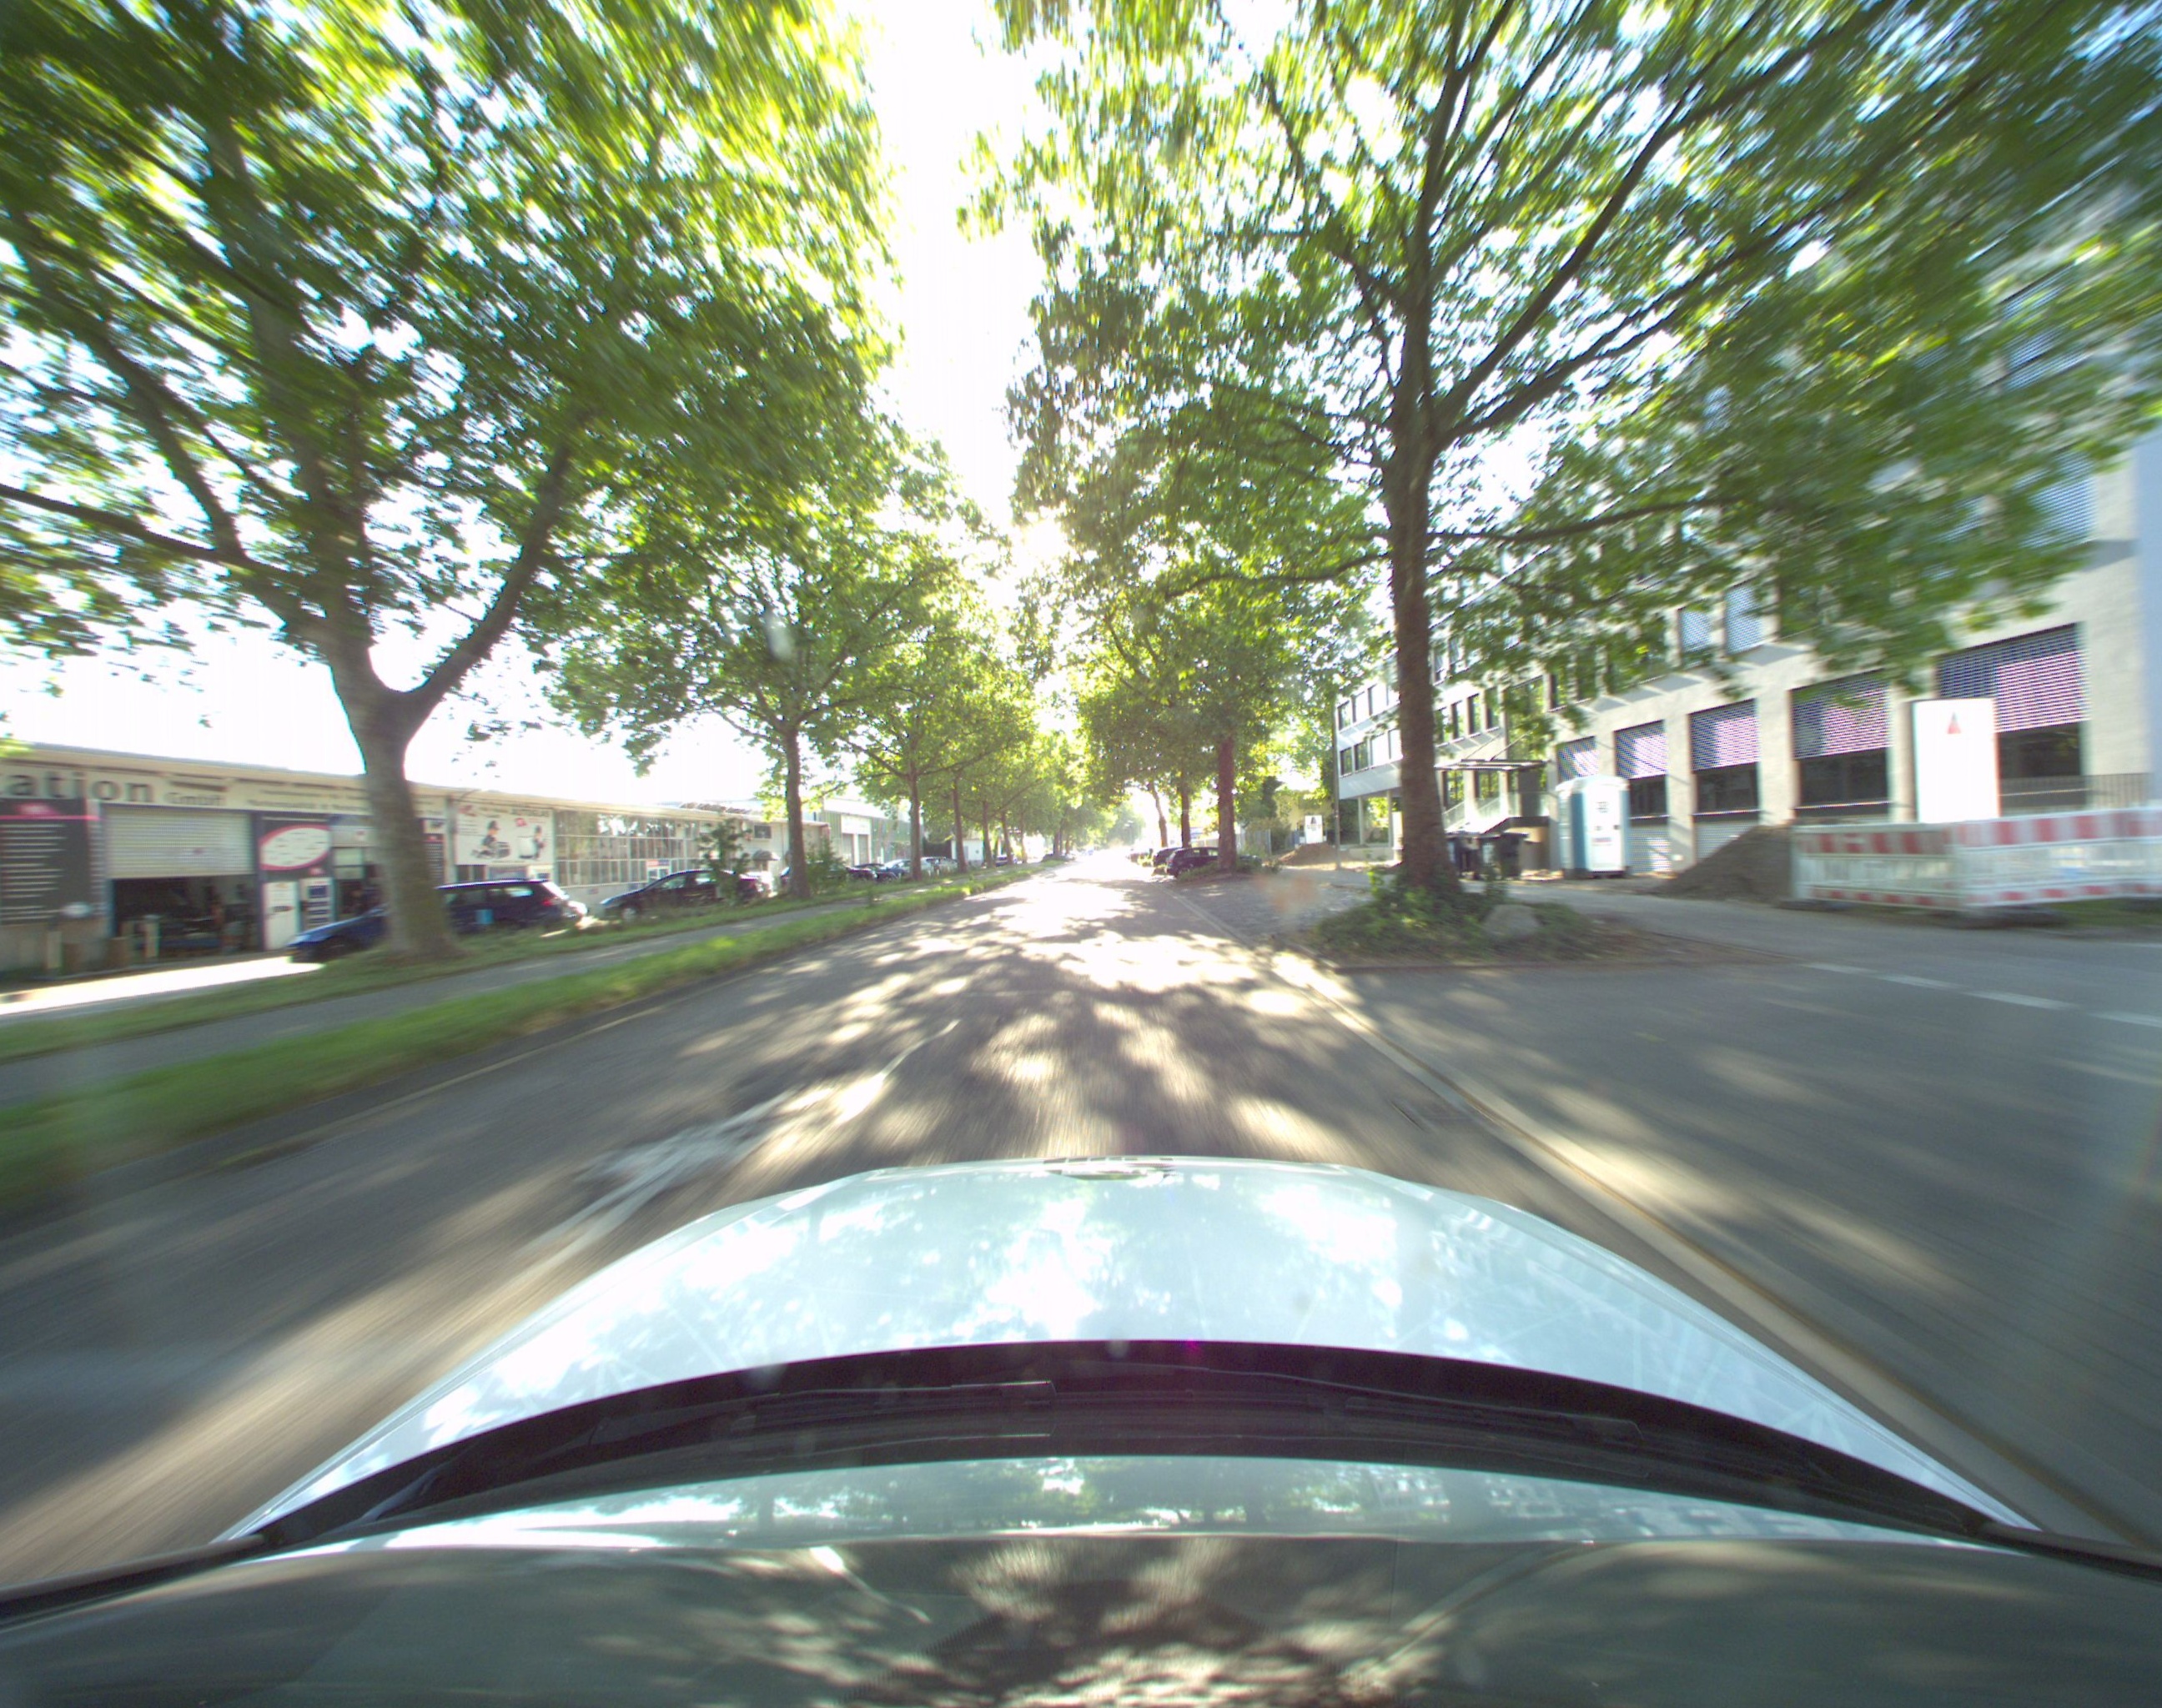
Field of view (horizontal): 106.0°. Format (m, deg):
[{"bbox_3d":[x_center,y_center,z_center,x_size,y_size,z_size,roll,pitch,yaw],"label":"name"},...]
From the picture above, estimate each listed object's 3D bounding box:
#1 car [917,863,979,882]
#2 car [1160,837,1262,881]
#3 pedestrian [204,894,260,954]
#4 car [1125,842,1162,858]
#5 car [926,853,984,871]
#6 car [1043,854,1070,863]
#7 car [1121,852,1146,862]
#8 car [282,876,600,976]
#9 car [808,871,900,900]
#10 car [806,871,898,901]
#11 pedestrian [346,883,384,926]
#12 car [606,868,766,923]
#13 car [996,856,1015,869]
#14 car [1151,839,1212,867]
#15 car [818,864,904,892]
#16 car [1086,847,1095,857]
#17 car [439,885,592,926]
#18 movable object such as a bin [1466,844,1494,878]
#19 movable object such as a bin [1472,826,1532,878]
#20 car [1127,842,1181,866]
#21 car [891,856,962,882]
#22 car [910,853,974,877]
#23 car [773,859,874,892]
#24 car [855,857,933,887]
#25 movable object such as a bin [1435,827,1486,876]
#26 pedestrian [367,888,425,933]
[{"bbox_3d":[-10.779,1.460,66.206,4.508,1.306,1.976,-3,0,-40],"label":"car"},{"bbox_3d":[5.870,0.236,37.158,4.271,1.486,1.860,-6,-1,-1],"label":"car"},{"bbox_3d":[-24.693,2.026,23.697,0.790,1.676,0.770,-1,-1,1],"label":"pedestrian"},{"bbox_3d":[8.353,-0.514,109.314,4.611,1.712,1.999,-5,-1,-1],"label":"car"},{"bbox_3d":[-10.713,0.670,69.525,4.508,1.306,1.976,-3,0,-40],"label":"car"},{"bbox_3d":[-4.328,0.744,142.932,4.584,1.422,2.000,-2,1,0],"label":"car"},{"bbox_3d":[10.097,0.541,156.294,4.582,1.579,2.002,-5,-1,3],"label":"car"},{"bbox_3d":[-13.234,1.419,17.300,4.904,1.760,1.985,-1,-1,-23],"label":"car"},{"bbox_3d":[-12.047,1.650,43.240,4.282,1.382,1.978,-1,-1,-37],"label":"car"},{"bbox_3d":[-12.099,1.648,43.172,4.282,1.452,1.978,-1,-1,-37],"label":"car"},{"bbox_3d":[-25.103,1.773,28.563,0.688,1.472,0.687,-1,-1,9],"label":"pedestrian"},{"bbox_3d":[-12.236,1.242,25.562,4.354,1.530,1.985,-1,-1,-23],"label":"car"},{"bbox_3d":[-9.294,1.040,100.271,1.989,1.369,3.916,-7,0,-3],"label":"car"},{"bbox_3d":[6.765,-0.049,55.194,3.773,1.486,1.860,-5,-1,-1],"label":"car"},{"bbox_3d":[-12.461,1.326,46.273,4.282,1.452,1.978,-1,-1,-37],"label":"car"},{"bbox_3d":[2.592,-0.568,218.102,2.120,2.659,7.004,-3,1,1],"label":"car"},{"bbox_3d":[-20.335,1.826,29.337,4.430,1.321,2.007,0,0,12],"label":"car"},{"bbox_3d":[11.025,0.195,22.509,0.490,0.900,0.599,-1,-1,0],"label":"movable object such as a bin"},{"bbox_3d":[10.810,-0.049,20.961,0.745,1.263,1.612,-1,-1,2],"label":"movable object such as a bin"},{"bbox_3d":[6.655,0.009,74.719,4.558,1.715,1.942,-5,0,-3],"label":"car"},{"bbox_3d":[-10.242,0.967,54.245,1.975,1.629,4.288,-1,-1,44],"label":"car"},{"bbox_3d":[-10.777,0.854,63.361,4.504,1.730,1.978,-1,-1,-36],"label":"car"},{"bbox_3d":[-12.536,1.030,39.701,4.282,1.452,1.978,-1,-1,-37],"label":"car"},{"bbox_3d":[-11.488,1.099,50.266,1.975,1.699,4.288,-1,-1,45],"label":"car"},{"bbox_3d":[11.004,-0.072,23.656,0.745,1.350,1.621,-1,-1,2],"label":"movable object such as a bin"},{"bbox_3d":[-24.881,2.043,29.608,1.155,1.560,1.126,-1,-1,8],"label":"pedestrian"}]
